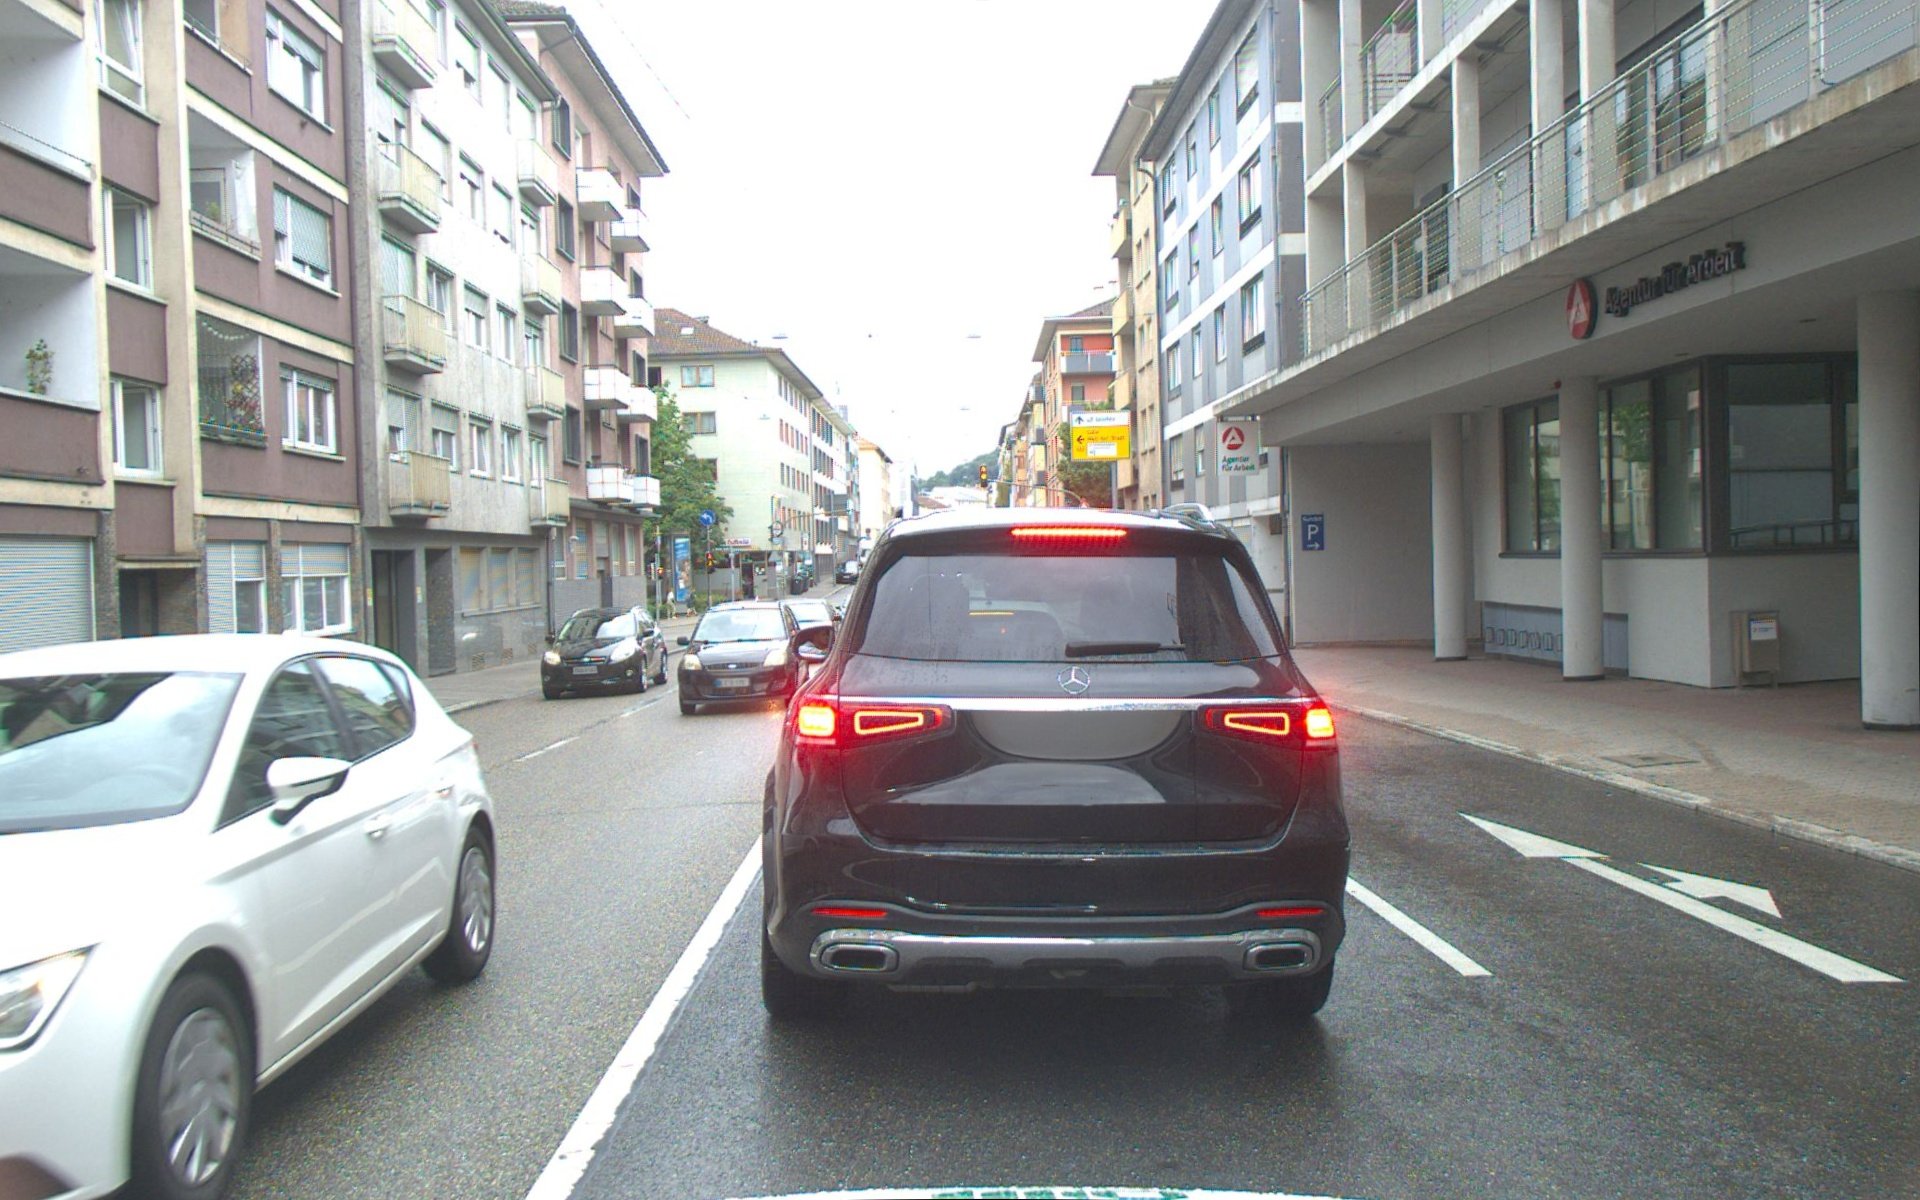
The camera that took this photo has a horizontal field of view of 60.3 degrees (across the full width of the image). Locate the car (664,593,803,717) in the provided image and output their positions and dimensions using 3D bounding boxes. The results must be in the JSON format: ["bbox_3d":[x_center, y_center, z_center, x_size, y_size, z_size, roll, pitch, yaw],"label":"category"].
[{"bbox_3d":[-3.217,0.744,24.192,1.586,1.566,4.215,-3,0,-3],"label":"car"}]

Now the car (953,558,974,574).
[{"bbox_3d":[0.352,-3.540,172.360,1.848,1.396,4.215,-3,0,-3],"label":"car"}]

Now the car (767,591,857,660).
[{"bbox_3d":[-3.361,0.569,38.209,1.660,1.394,4.217,-4,-1,0],"label":"car"}]

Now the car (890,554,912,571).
[{"bbox_3d":[-5.365,-3.334,148.923,1.848,1.286,4.215,-3,0,-3],"label":"car"}]

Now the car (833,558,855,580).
[{"bbox_3d":[-9.213,-2.451,131.491,1.586,1.566,4.215,-3,0,-3],"label":"car"}]

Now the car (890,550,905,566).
[{"bbox_3d":[-7.287,-4.904,193.606,1.586,1.566,4.215,-3,0,-3],"label":"car"}]

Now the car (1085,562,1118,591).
[{"bbox_3d":[8.093,-1.345,94.756,1.636,1.616,3.331,-2,1,1],"label":"car"}]

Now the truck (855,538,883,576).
[{"bbox_3d":[-8.604,-4.016,156.943,2.430,3.099,9.914,-3,0,-3],"label":"truck"}]

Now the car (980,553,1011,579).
[{"bbox_3d":[2.166,-2.071,102.102,1.586,1.411,4.215,-3,0,-3],"label":"car"}]

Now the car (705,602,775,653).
[{"bbox_3d":[-6.765,0.834,51.203,1.661,1.394,4.364,-4,0,-2],"label":"car"}]

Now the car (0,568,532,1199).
[{"bbox_3d":[-2.712,0.779,5.212,1.709,1.566,4.051,-3,0,-2],"label":"car"}]

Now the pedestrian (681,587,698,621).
[{"bbox_3d":[-14.896,0.220,91.014,0.629,1.795,0.765,-2,0,-31],"label":"pedestrian"}]

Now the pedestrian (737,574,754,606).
[{"bbox_3d":[-13.202,-0.606,101.771,0.904,1.935,0.706,-2,0,-3],"label":"pedestrian"}]

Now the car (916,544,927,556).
[{"bbox_3d":[-5.832,-7.532,250.166,1.586,1.566,4.215,-3,0,-3],"label":"car"}]

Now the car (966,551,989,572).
[{"bbox_3d":[1.429,-3.190,138.244,1.586,1.566,4.215,-3,0,-3],"label":"car"}]

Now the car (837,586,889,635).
[{"bbox_3d":[-3.460,0.392,59.346,1.661,1.608,4.216,-4,-1,-2],"label":"car"}]

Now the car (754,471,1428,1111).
[{"bbox_3d":[0.357,0.569,7.020,1.944,1.836,4.389,1,0,-1],"label":"car"}]

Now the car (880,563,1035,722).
[{"bbox_3d":[-0.130,0.493,20.828,1.716,1.762,4.215,-1,0,-3],"label":"car"}]

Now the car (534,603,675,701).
[{"bbox_3d":[-6.373,0.885,30.083,1.689,1.498,4.372,-4,1,-2],"label":"car"}]

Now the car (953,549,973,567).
[{"bbox_3d":[0.251,-3.975,156.942,1.586,1.566,4.215,-3,0,-3],"label":"car"}]

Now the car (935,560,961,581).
[{"bbox_3d":[-0.930,-2.328,130.317,1.953,1.514,3.999,-2,0,-1],"label":"car"}]
